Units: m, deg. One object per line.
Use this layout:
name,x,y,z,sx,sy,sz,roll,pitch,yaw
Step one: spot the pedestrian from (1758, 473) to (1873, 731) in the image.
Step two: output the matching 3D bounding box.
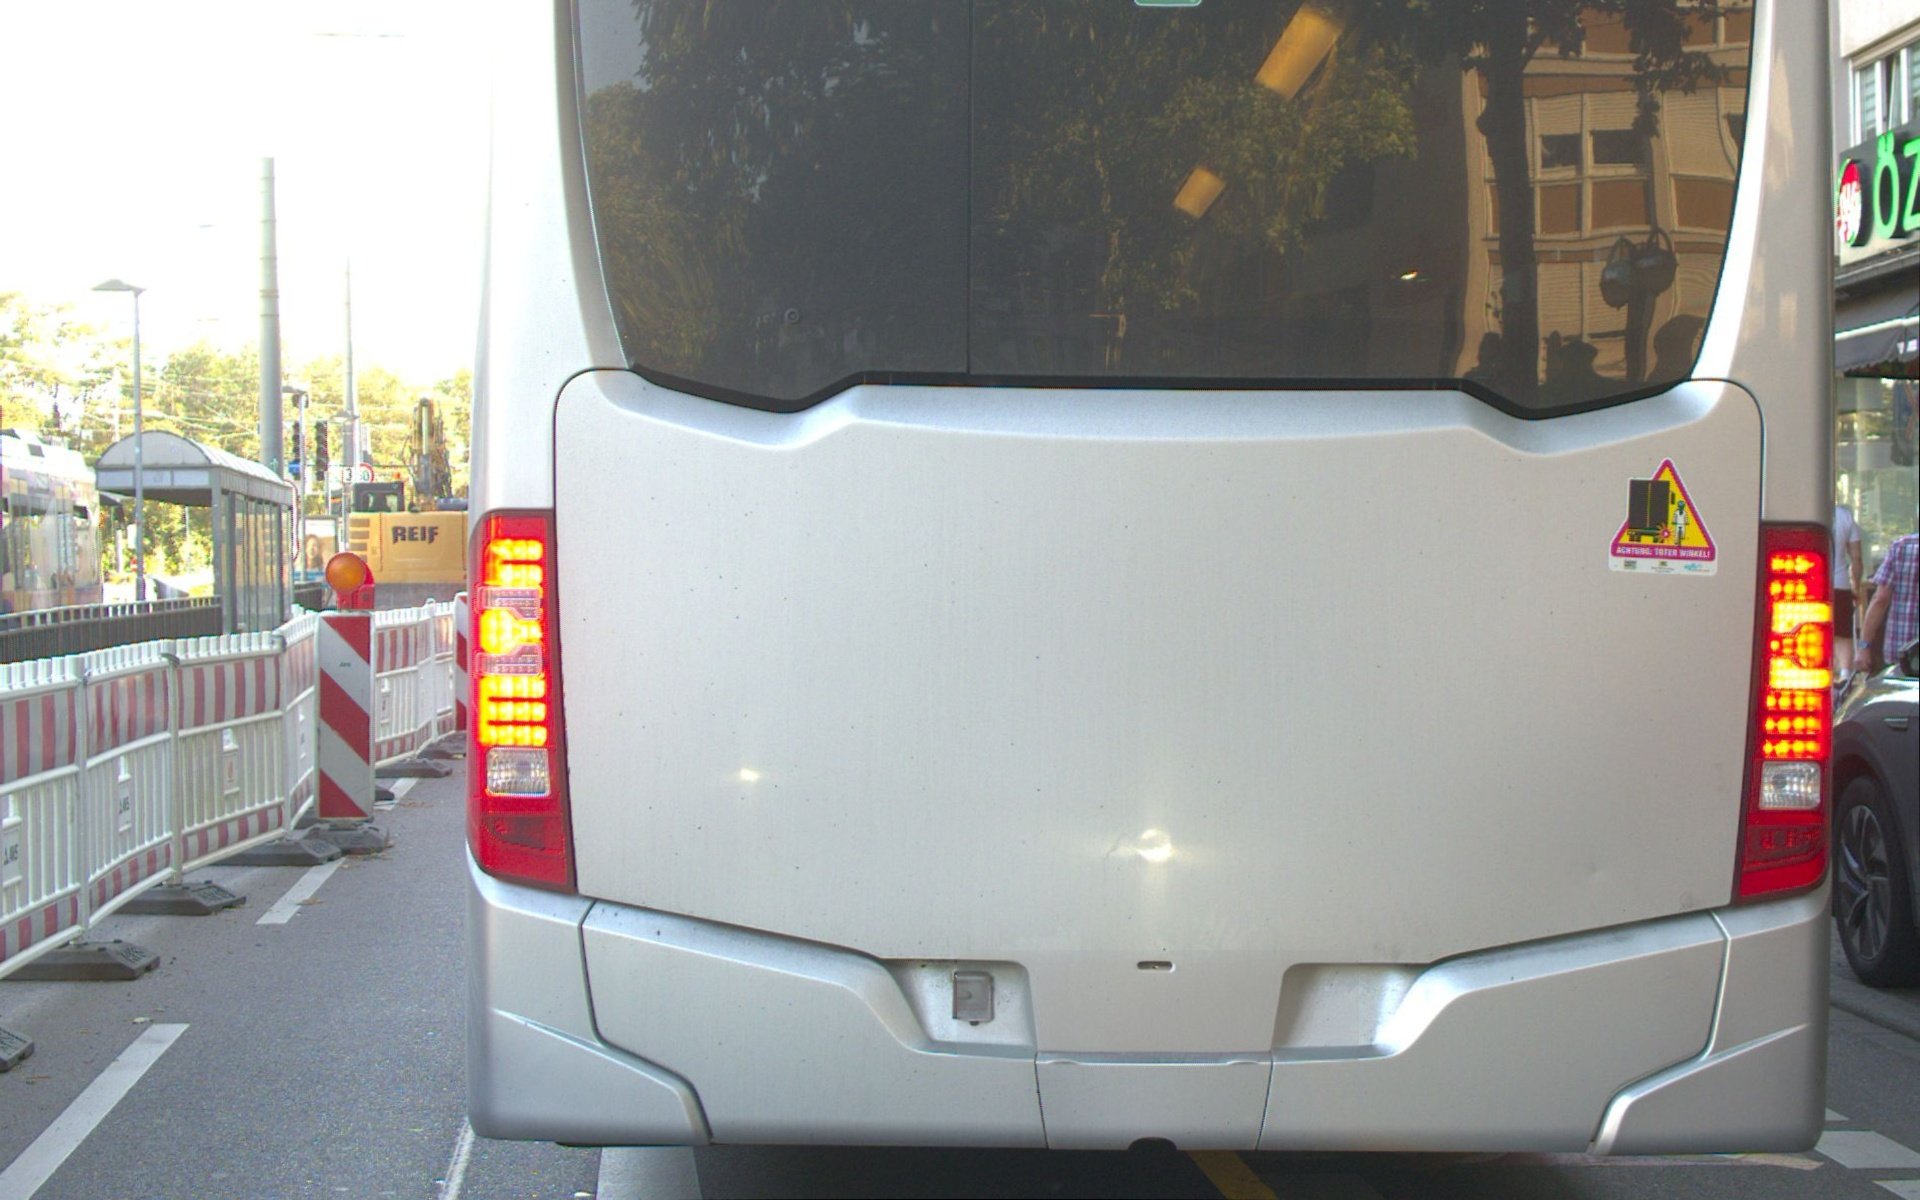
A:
pedestrian,6.775,0.012,27.244,0.685,2.007,0.786,-1,1,-1

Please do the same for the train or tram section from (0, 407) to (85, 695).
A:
train or tram section,-13.541,-0.649,45.177,2.686,3.521,11.585,1,1,-8

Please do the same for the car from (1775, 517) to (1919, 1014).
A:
car,4.123,0.512,10.156,1.993,1.576,4.369,-3,1,-5

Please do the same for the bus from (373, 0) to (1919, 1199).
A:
bus,0.278,-0.214,9.879,2.611,3.115,7.993,1,1,-1

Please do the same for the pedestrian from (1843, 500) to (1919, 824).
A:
pedestrian,5.006,0.312,17.998,0.664,1.661,0.600,-2,0,16

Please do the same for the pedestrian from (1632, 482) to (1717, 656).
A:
pedestrian,7.663,-0.334,36.896,0.685,1.830,0.786,-1,1,-3

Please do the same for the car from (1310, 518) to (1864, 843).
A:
car,3.462,0.367,19.890,1.993,1.576,4.369,-3,1,-5

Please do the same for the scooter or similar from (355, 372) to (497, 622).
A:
scooter or similar,-10.001,-1.889,64.760,2.468,4.455,5.974,-1,1,-8
